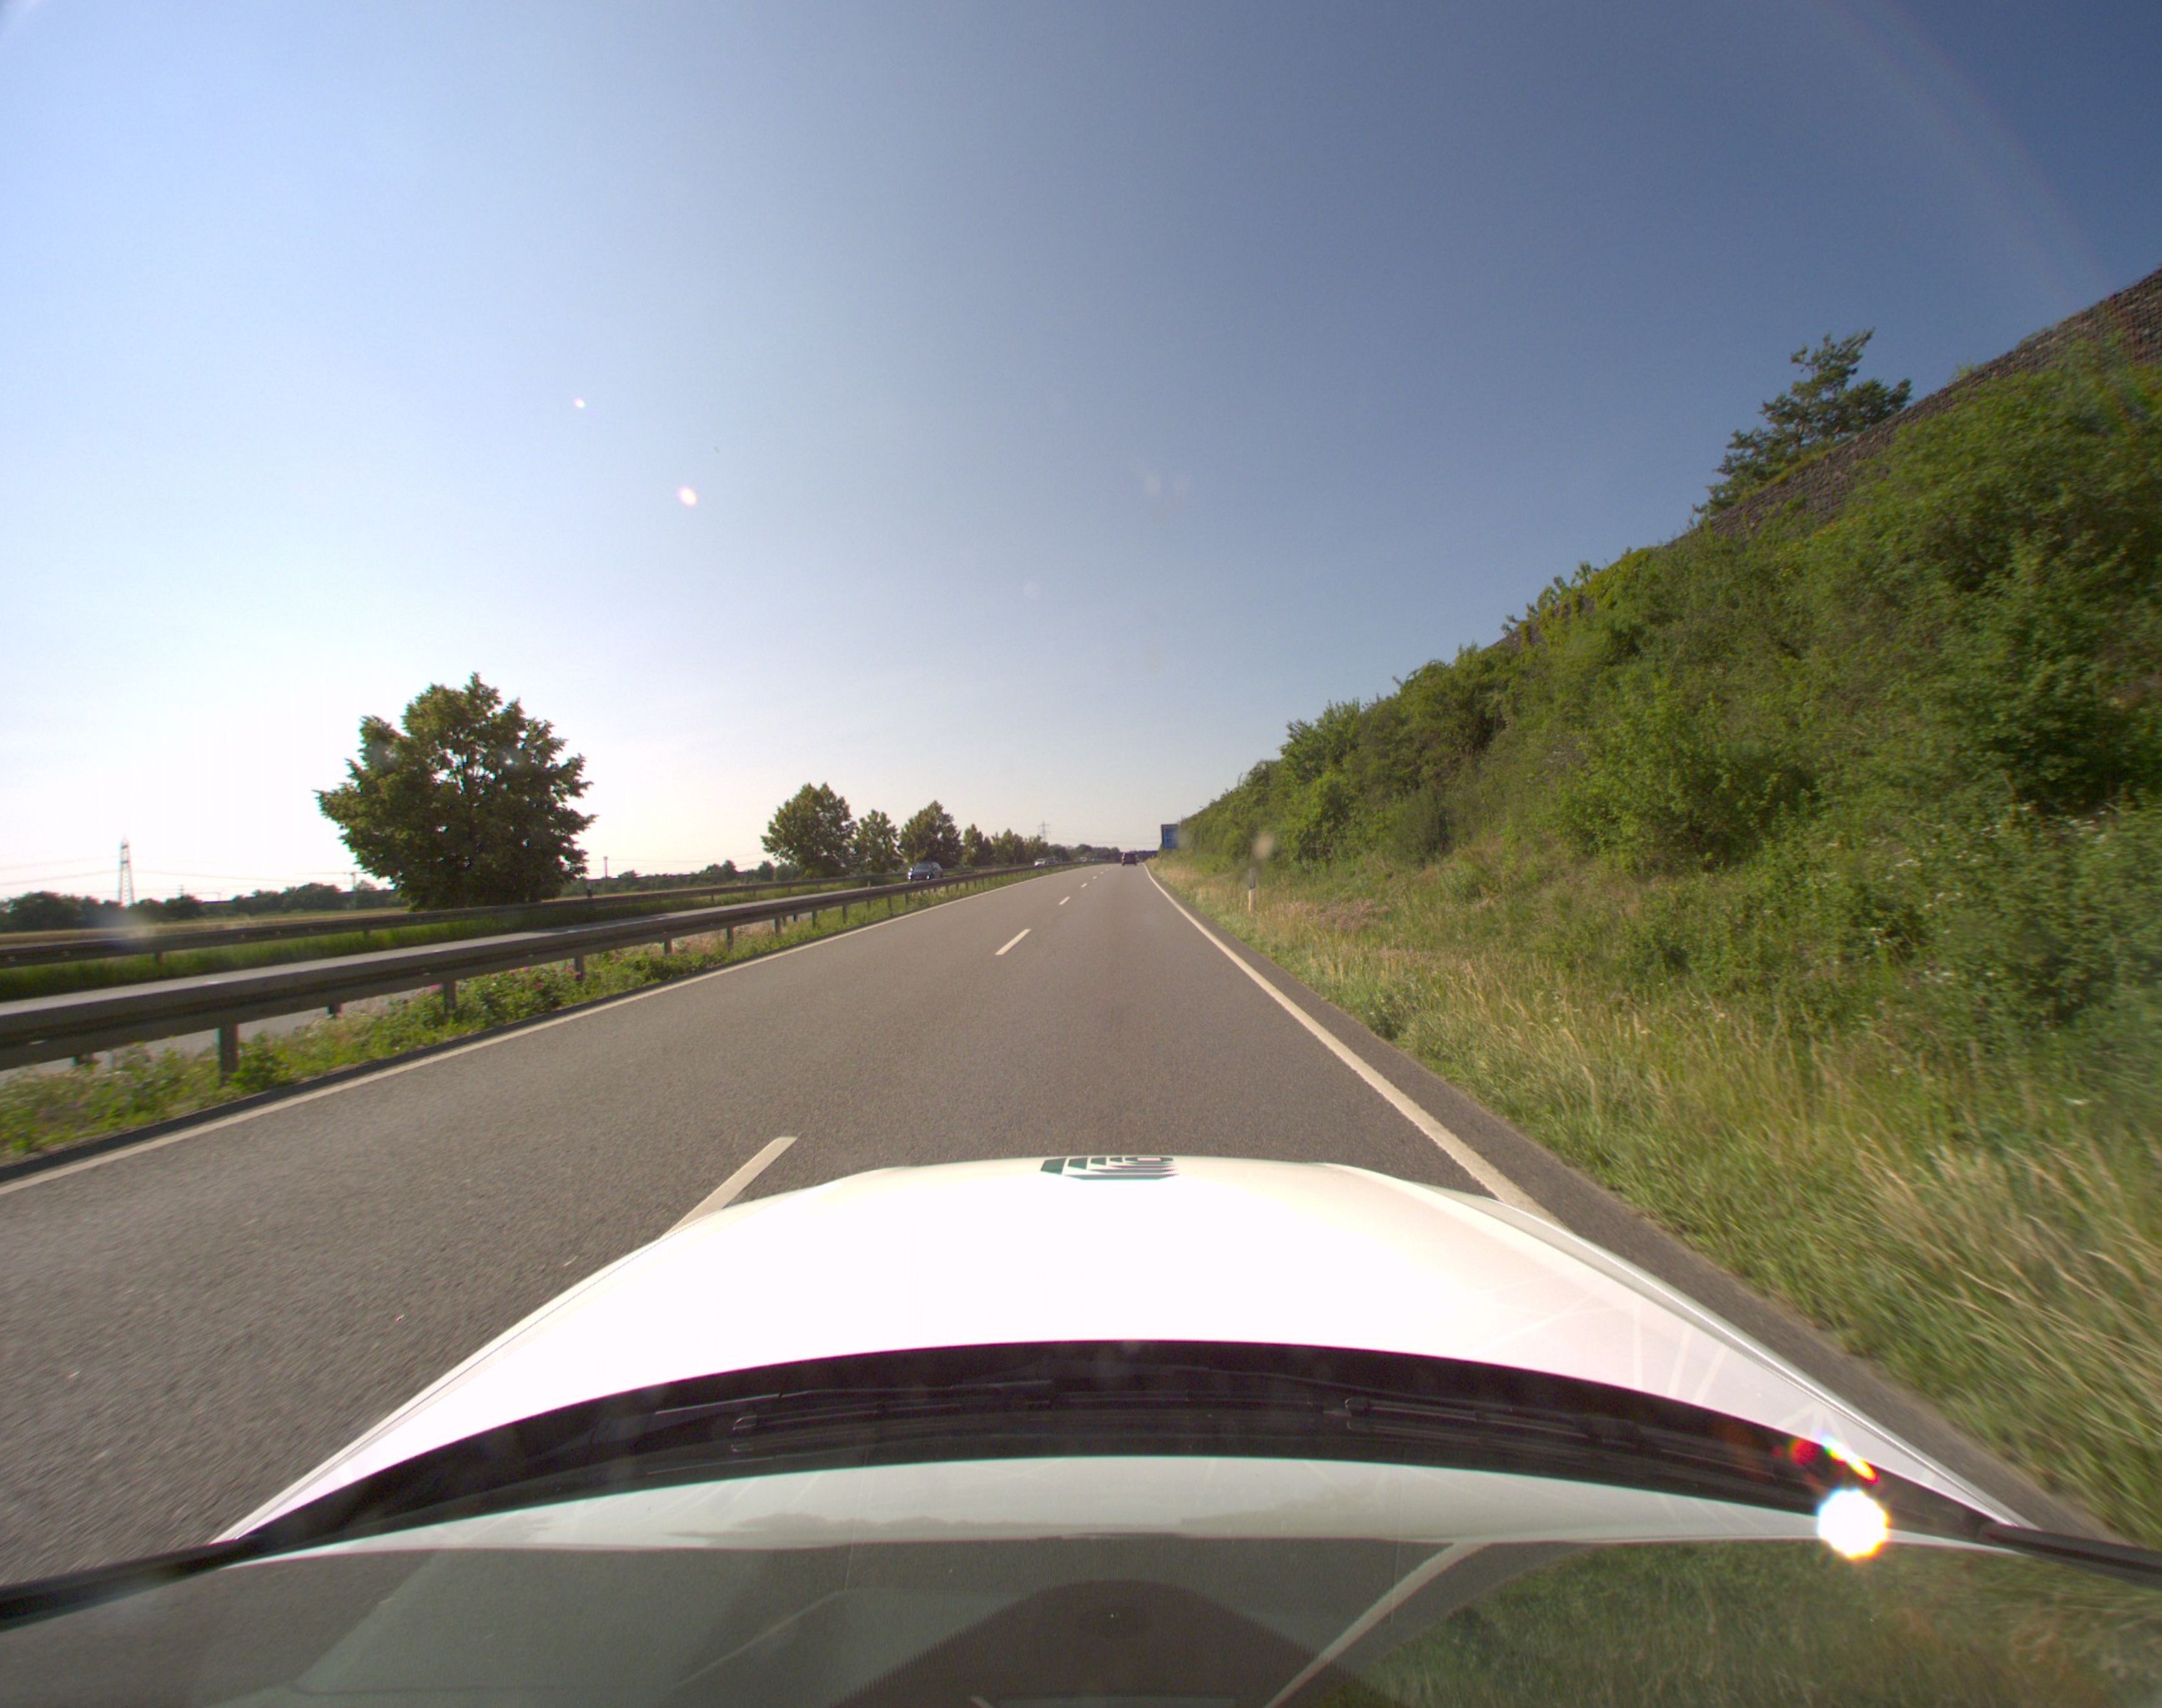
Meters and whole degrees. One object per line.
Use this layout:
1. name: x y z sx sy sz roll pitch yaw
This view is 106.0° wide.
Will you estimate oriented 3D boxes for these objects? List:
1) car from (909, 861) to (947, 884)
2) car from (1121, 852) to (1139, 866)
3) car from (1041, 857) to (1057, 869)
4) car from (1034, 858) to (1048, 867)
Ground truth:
1. car: -11.191 1.353 59.792 1.644 1.553 4.565 0 0 4
2. car: 6.038 0.602 99.233 1.840 1.644 4.008 -2 -1 7
3. car: -4.368 1.214 111.378 1.682 1.541 4.250 -2 0 5
4. car: -6.407 1.318 129.975 1.683 1.437 3.943 -2 0 3
